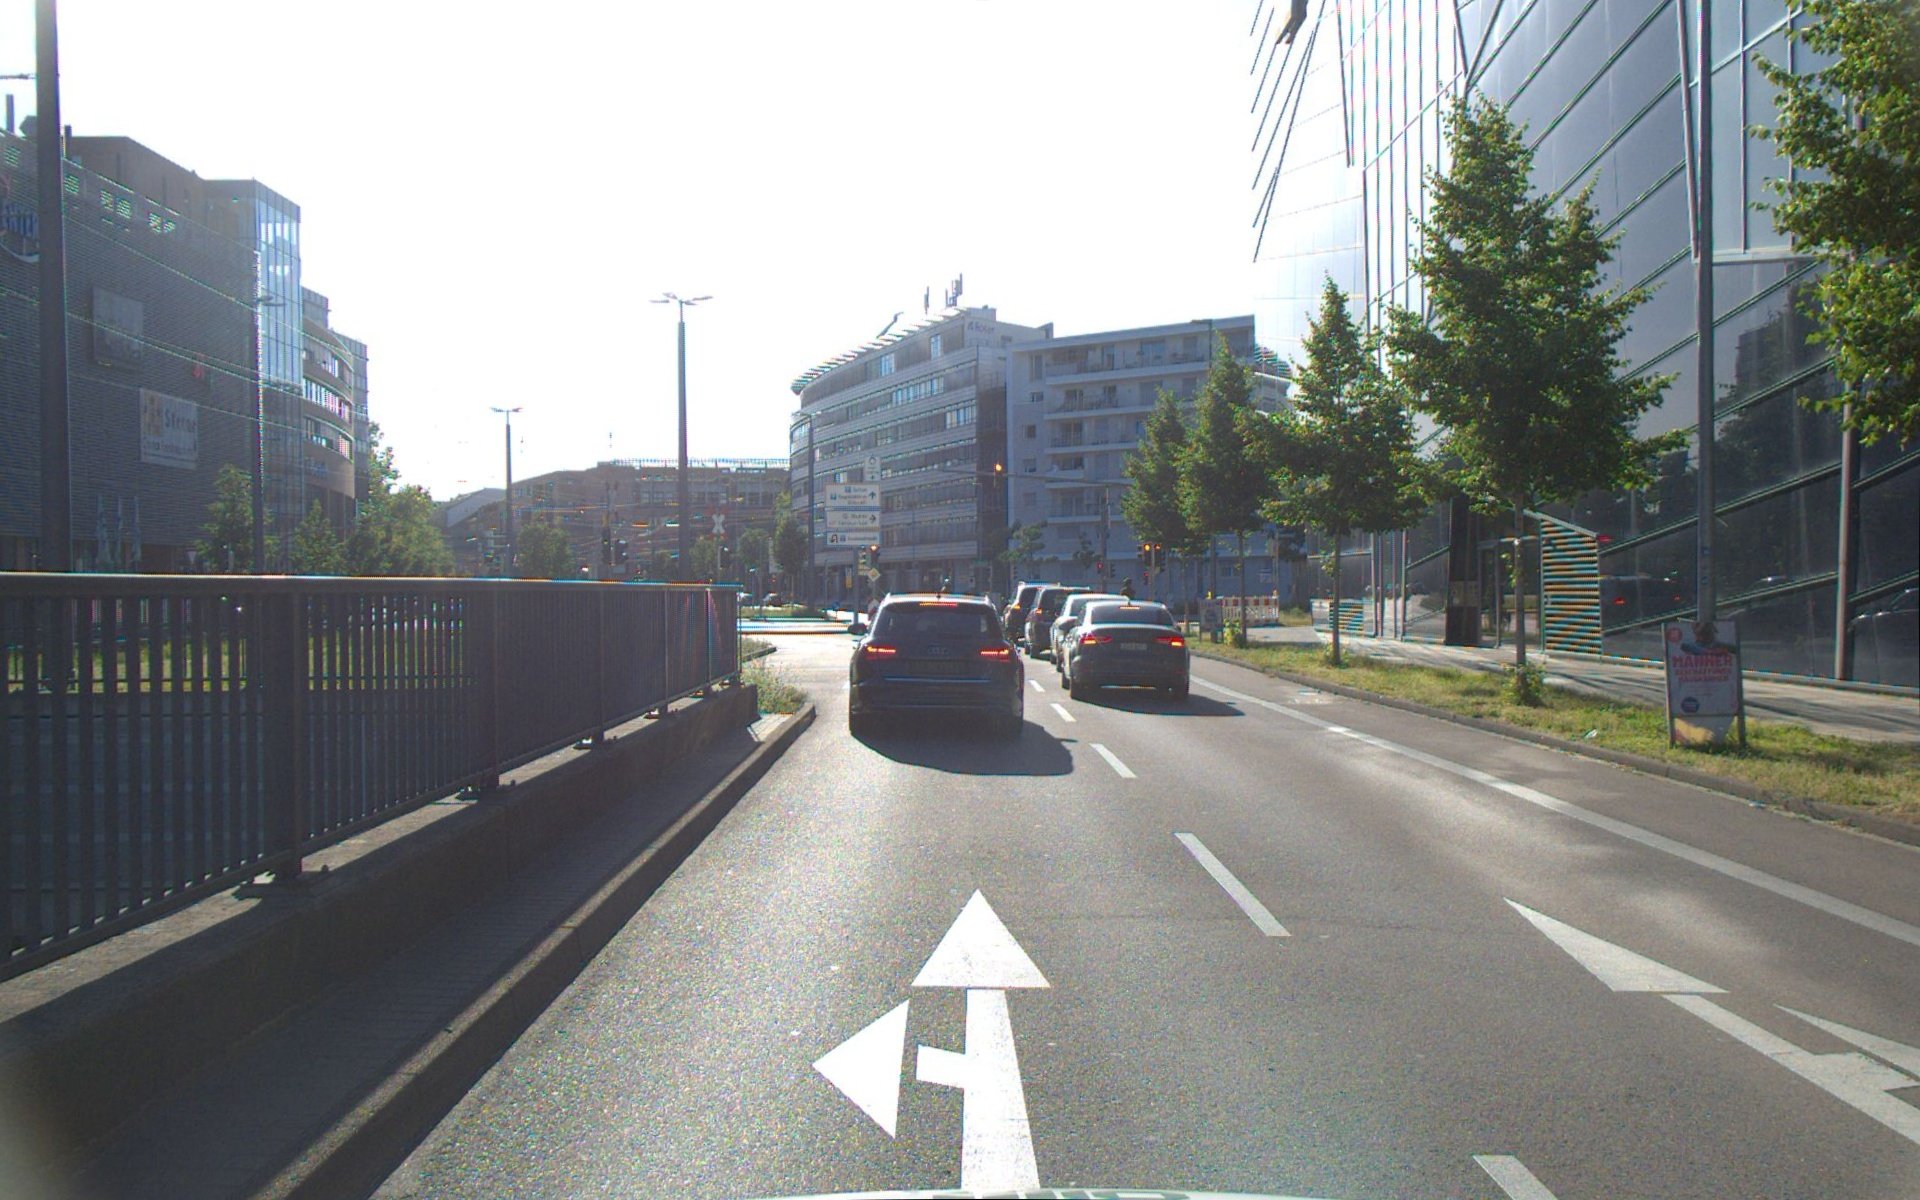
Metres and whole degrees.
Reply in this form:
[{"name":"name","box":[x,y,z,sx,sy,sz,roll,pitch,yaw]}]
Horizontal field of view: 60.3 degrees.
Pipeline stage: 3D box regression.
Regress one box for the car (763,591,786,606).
[{"name":"car","box":[-21.135,-0.167,188.299,1.960,1.624,3.984,-1,-1,-15]}]

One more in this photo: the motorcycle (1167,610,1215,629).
[{"name":"motorcycle","box":[12.458,1.047,89.328,2.404,1.018,1.170,-1,0,-4]}]

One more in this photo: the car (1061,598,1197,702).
[{"name":"car","box":[2.469,0.695,25.056,1.709,1.416,4.265,1,0,1]}]

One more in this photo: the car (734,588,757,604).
[{"name":"car","box":[-22.799,-0.414,176.043,1.960,1.624,3.985,-1,-1,-14]}]

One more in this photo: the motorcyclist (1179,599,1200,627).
[{"name":"motorcyclist","box":[12.407,0.692,89.324,0.906,1.507,1.171,-1,0,-4]}]

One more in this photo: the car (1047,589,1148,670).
[{"name":"car","box":[2.690,0.552,33.195,1.710,1.507,4.628,0,0,1]}]

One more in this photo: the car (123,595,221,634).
[{"name":"car","box":[-31.725,0.557,66.722,1.953,1.527,4.243,0,0,0]}]

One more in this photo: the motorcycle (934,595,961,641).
[{"name":"motorcycle","box":[-0.394,0.556,51.959,0.845,1.417,1.893,0,0,0]}]

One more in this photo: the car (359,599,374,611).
[{"name":"car","box":[-86.325,0.729,240.462,1.630,1.616,3.328,0,0,-27]}]

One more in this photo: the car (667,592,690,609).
[{"name":"car","box":[-31.202,0.031,183.288,1.963,1.736,3.978,-1,-1,-19]}]

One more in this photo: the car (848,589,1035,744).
[{"name":"car","box":[-0.208,0.636,18.207,1.805,1.479,3.999,1,0,-1]}]

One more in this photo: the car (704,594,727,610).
[{"name":"car","box":[-26.331,0.192,178.135,1.961,1.624,3.983,-1,-1,-16]}]

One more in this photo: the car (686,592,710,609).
[{"name":"car","box":[-29.177,0.053,183.901,1.963,1.736,3.978,-1,-1,-19]}]

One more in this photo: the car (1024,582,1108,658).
[{"name":"car","box":[2.475,0.454,39.522,1.710,1.725,4.260,0,0,0]}]

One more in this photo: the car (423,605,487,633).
[{"name":"car","box":[-30.092,1.088,98.709,1.951,1.572,4.534,-1,0,7]}]

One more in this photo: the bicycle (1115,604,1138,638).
[{"name":"bicycle","box":[5.436,0.682,54.043,0.640,1.061,1.930,0,1,3]}]

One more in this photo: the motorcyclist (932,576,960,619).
[{"name":"motorcyclist","box":[-0.442,-0.078,51.713,0.845,1.349,0.681,0,0,-1]}]

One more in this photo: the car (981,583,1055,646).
[{"name":"car","box":[1.672,0.384,49.104,1.962,1.745,4.372,1,0,-1]}]

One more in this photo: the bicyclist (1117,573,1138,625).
[{"name":"bicyclist","box":[5.468,-0.033,54.040,0.640,1.671,0.972,0,0,2]}]
